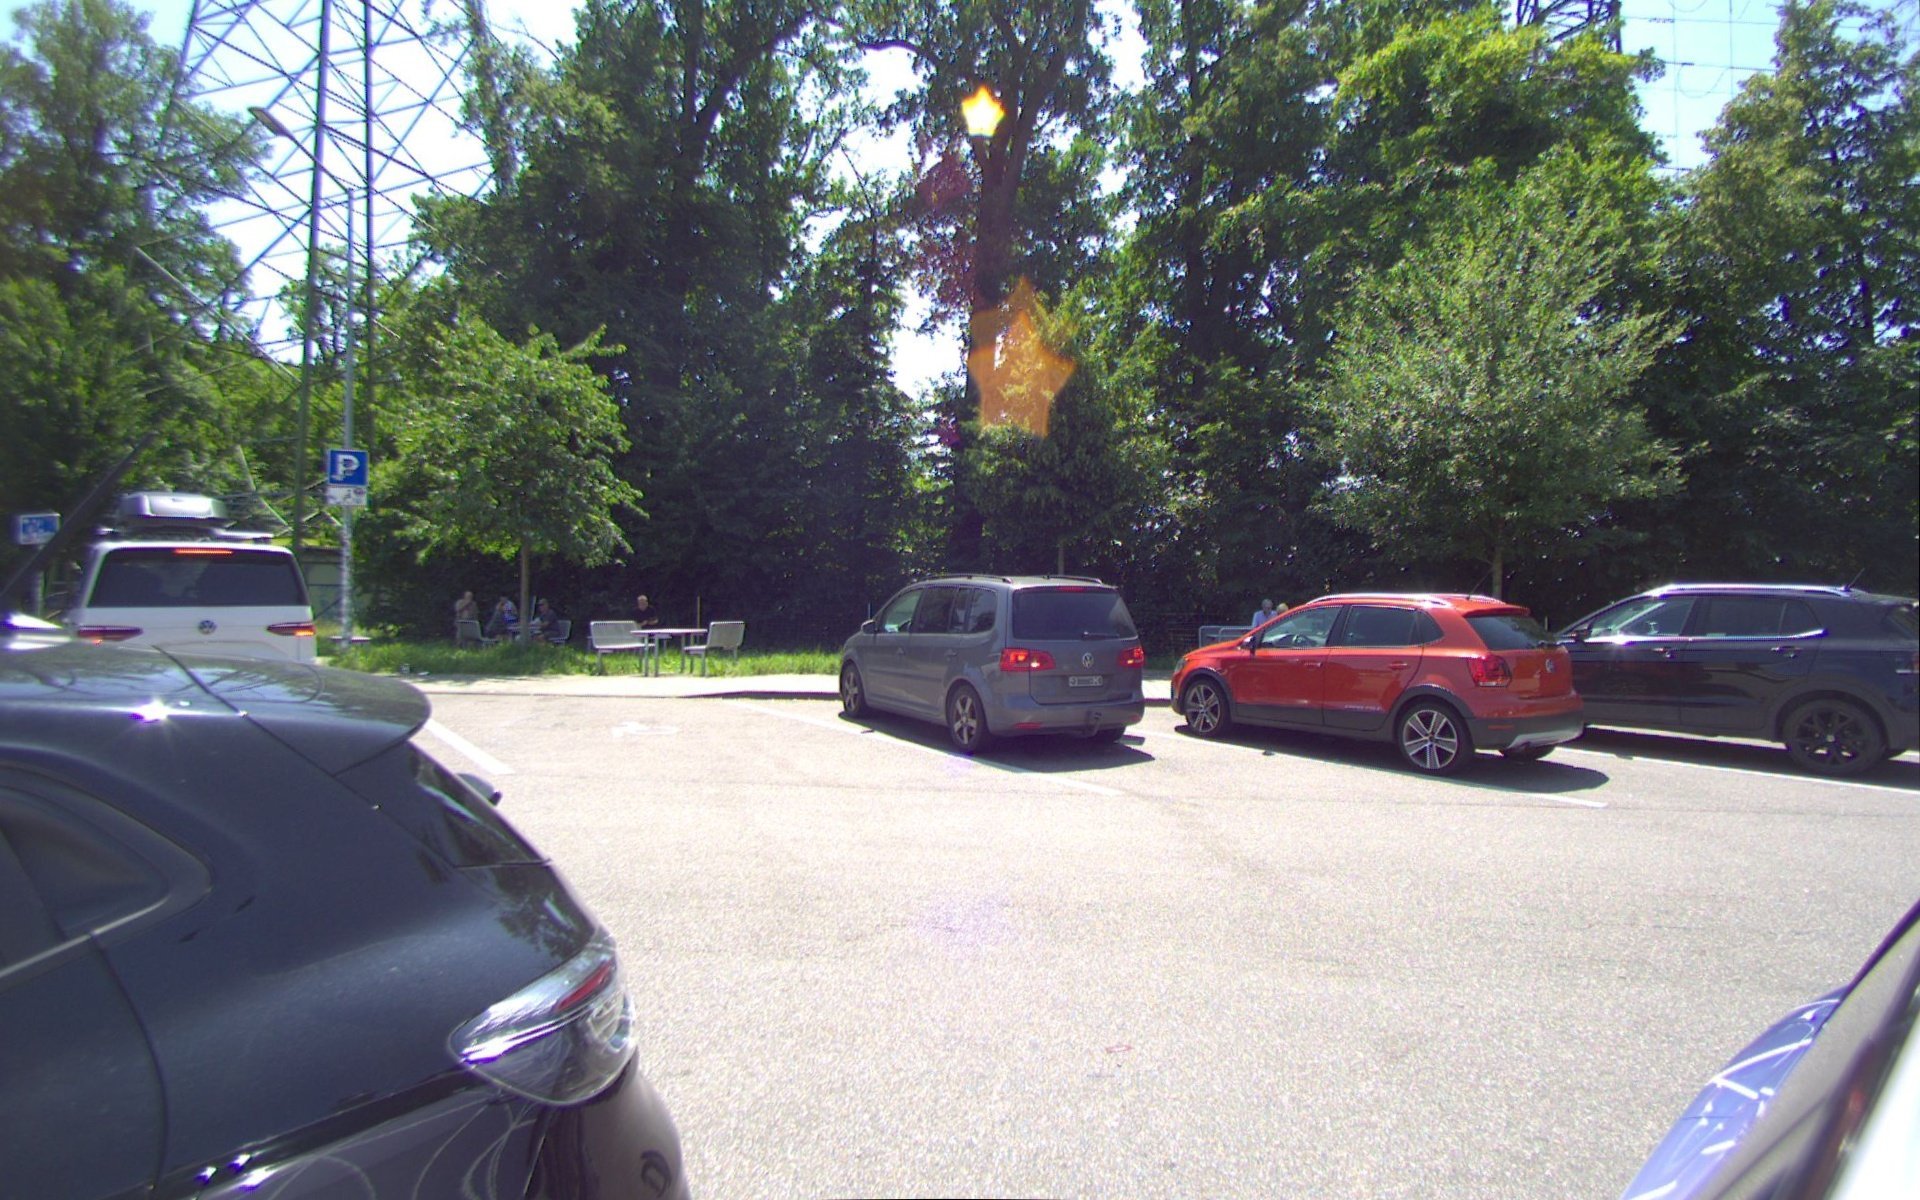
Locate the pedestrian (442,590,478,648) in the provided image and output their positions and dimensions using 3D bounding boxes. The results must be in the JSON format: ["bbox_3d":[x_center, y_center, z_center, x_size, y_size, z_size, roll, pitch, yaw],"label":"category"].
[{"bbox_3d":[-12.385,0.458,25.069,0.657,1.422,0.649,0,0,-39],"label":"pedestrian"}]

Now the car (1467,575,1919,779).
[{"bbox_3d":[7.169,0.573,9.706,1.690,1.593,3.787,0,1,-39],"label":"car"}]

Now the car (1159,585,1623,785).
[{"bbox_3d":[3.843,0.608,9.646,1.687,1.484,3.793,0,1,-32],"label":"car"}]

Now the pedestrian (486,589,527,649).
[{"bbox_3d":[-11.011,0.455,24.567,0.664,1.422,0.643,0,0,32],"label":"pedestrian"}]

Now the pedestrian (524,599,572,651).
[{"bbox_3d":[-9.613,0.571,23.622,0.873,1.192,0.668,0,0,-41],"label":"pedestrian"}]

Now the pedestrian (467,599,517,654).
[{"bbox_3d":[-10.529,0.584,22.768,0.873,1.192,0.668,0,0,-41],"label":"pedestrian"}]

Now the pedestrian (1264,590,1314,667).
[{"bbox_3d":[5.770,0.485,17.774,0.657,1.311,0.783,0,0,3],"label":"pedestrian"}]

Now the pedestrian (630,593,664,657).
[{"bbox_3d":[-6.565,0.518,21.276,0.655,1.311,0.786,0,0,-16],"label":"pedestrian"}]

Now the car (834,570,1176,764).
[{"bbox_3d":[0.242,0.515,10.516,1.713,1.601,3.996,0,1,-29],"label":"car"}]

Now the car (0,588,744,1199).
[{"bbox_3d":[-2.213,0.719,0.597,1.737,1.501,3.757,0,0,44],"label":"car"}]

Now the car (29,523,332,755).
[{"bbox_3d":[-8.367,0.282,10.689,4.549,1.936,1.882,1,1,44],"label":"car"}]

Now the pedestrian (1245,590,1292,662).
[{"bbox_3d":[5.774,0.474,18.959,0.657,1.311,0.783,0,0,3],"label":"pedestrian"}]
